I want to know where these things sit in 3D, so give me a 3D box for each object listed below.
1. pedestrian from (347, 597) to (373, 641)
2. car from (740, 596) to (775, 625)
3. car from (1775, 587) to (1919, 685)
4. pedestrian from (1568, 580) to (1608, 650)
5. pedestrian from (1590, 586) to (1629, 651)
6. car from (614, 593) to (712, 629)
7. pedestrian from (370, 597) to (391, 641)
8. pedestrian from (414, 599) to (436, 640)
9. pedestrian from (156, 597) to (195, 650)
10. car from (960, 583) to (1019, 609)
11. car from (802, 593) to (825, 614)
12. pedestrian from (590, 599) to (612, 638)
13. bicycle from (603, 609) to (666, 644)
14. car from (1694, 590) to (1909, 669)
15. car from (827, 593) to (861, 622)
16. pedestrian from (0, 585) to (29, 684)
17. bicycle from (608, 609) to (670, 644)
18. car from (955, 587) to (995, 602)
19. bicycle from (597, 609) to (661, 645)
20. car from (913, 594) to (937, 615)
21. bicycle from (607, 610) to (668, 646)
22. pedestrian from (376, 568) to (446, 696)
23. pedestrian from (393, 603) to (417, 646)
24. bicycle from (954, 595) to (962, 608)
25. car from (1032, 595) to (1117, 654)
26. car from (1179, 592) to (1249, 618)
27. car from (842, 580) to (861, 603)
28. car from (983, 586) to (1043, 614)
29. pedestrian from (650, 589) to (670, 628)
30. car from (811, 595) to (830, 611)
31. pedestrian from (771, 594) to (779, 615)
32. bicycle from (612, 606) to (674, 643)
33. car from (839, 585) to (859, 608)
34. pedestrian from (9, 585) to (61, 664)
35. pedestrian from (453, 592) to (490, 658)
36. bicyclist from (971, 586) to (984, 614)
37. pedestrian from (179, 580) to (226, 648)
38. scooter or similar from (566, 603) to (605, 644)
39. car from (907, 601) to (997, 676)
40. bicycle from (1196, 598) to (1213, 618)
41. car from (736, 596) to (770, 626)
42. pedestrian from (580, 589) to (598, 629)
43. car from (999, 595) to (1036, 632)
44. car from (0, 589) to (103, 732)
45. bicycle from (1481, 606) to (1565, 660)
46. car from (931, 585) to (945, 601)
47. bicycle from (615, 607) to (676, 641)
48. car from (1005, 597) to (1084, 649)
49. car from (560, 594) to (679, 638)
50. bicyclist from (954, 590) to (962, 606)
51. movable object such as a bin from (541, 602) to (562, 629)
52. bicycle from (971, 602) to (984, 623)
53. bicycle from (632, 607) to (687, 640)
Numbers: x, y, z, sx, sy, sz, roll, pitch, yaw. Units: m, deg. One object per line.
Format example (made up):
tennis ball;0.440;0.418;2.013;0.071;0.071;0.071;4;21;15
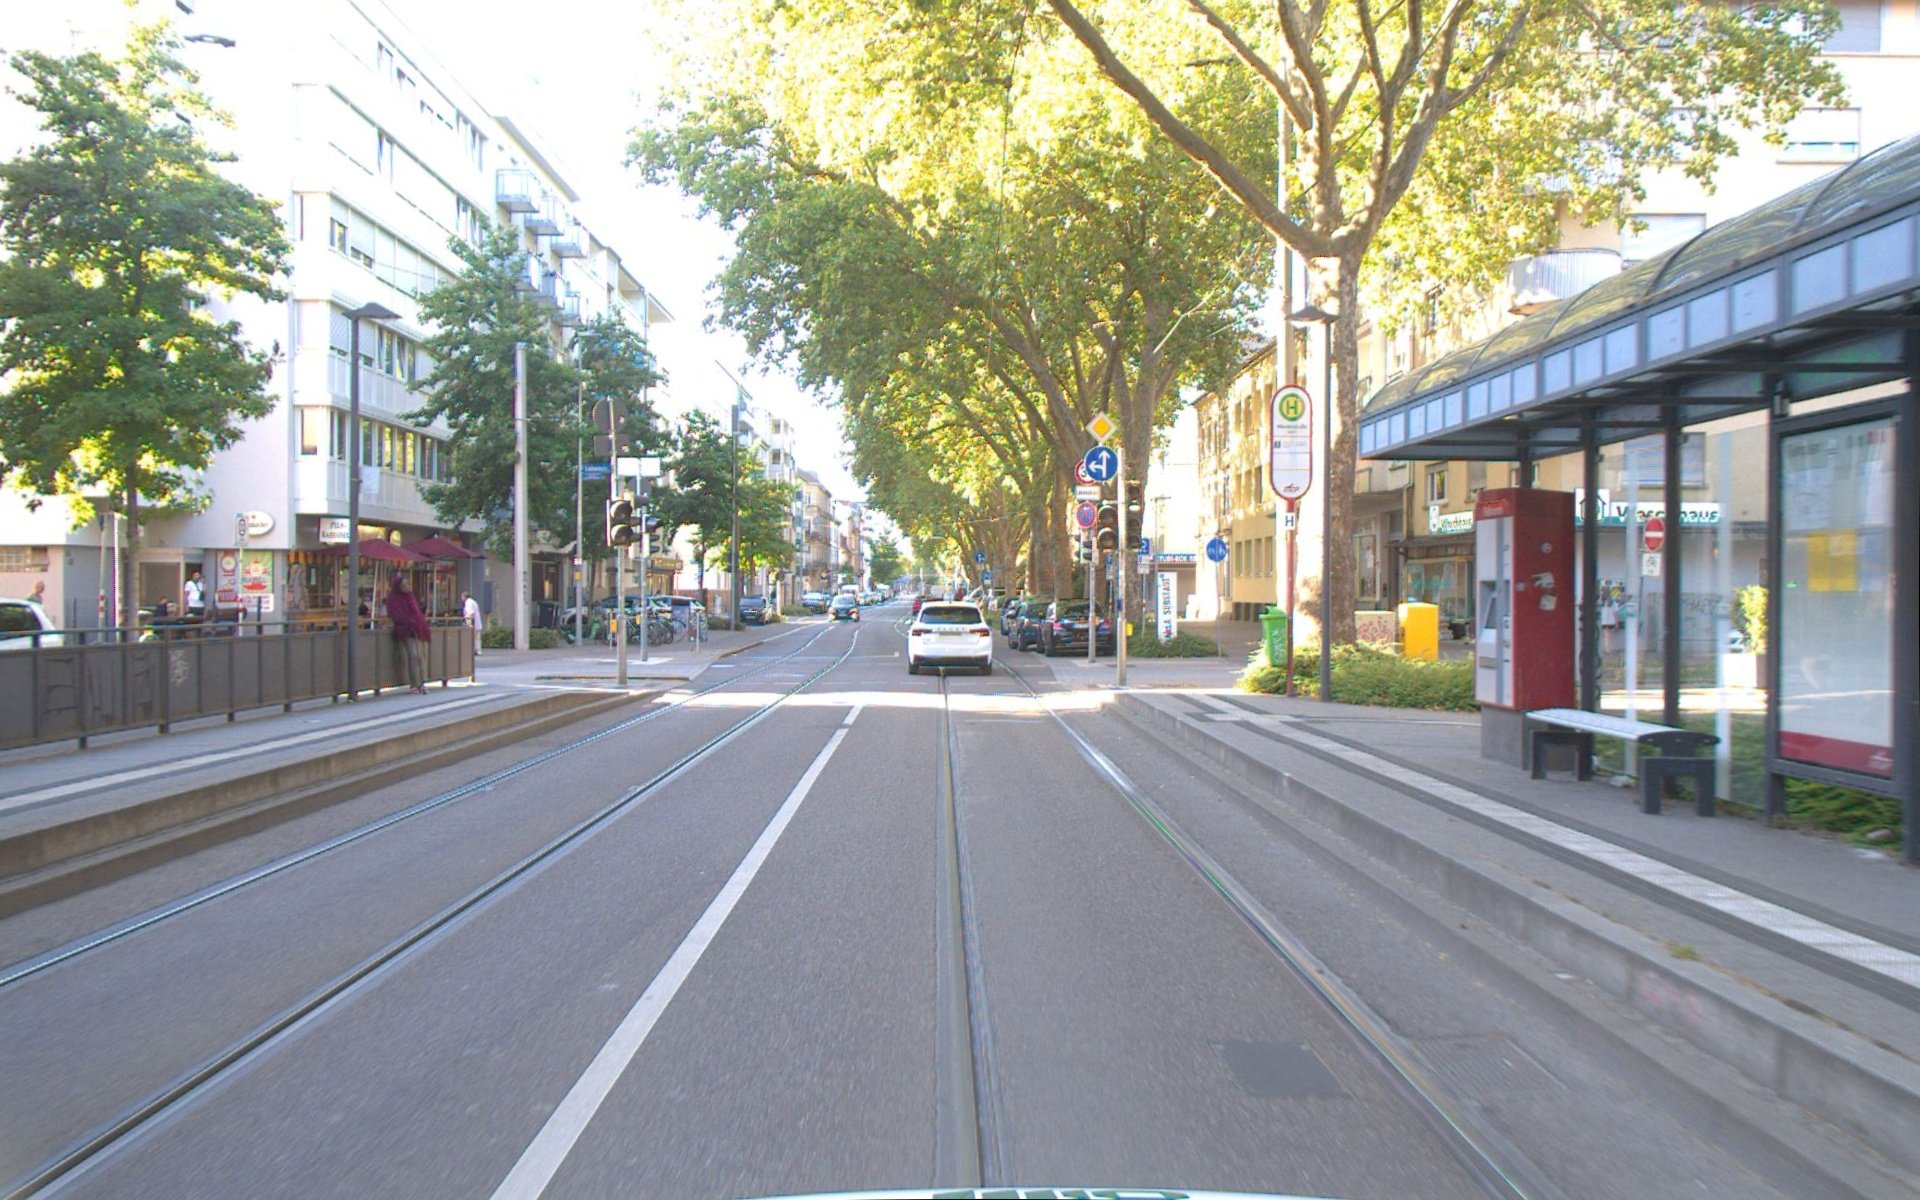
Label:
pedestrian;-16.683;0.524;45.969;0.557;1.219;0.507;0;0;-36
car;-11.389;0.569;93.186;1.680;1.489;4.372;3;0;-5
car;17.374;0.627;30.492;3.783;1.722;1.865;-1;0;-1
pedestrian;15.737;0.370;41.441;0.693;1.712;0.655;0;0;-28
pedestrian;15.843;0.454;40.338;0.690;1.566;0.687;-1;0;40
car;-12.882;0.486;71.911;3.933;1.501;1.850;1;0;-4
pedestrian;-15.985;0.523;45.635;0.503;1.219;0.561;0;0;-17
pedestrian;-16.033;0.590;49.569;0.506;1.219;0.558;0;0;-30
pedestrian;-19.011;0.567;40.064;0.741;1.263;0.759;0;0;-35
car;3.074;-0.405;172.973;6.008;2.681;2.528;0;0;-3
car;-12.186;0.268;137.590;1.668;1.679;4.239;2;0;-3
pedestrian;-12.380;0.629;56.957;0.700;1.320;0.744;0;0;-15
bicycle;-9.811;0.798;49.859;1.794;1.025;0.657;1;-1;-6
car;18.468;0.617;36.403;3.783;1.579;1.866;-1;3;-1
car;-6.887;0.416;98.144;1.834;1.617;4.144;2;0;-3
pedestrian;-15.624;0.560;26.792;0.711;1.583;0.725;0;0;-6
bicycle;-9.791;0.813;50.505;1.794;1.025;0.657;1;-1;-6
car;2.220;-0.869;251.803;6.008;2.322;2.528;0;0;-3
bicycle;-9.894;0.801;49.416;1.794;1.025;0.657;1;-1;-6
car;-2.579;0.336;121.590;1.725;1.501;4.000;-1;0;-1
bicycle;-9.330;0.807;47.944;1.658;1.025;0.657;1;-1;-6
pedestrian;-7.092;0.406;21.388;0.640;1.613;0.772;0;0;-1
pedestrian;-15.882;0.708;47.325;0.501;1.219;0.564;0;0;1
bicycle;-0.174;0.154;143.657;0.636;1.089;1.582;0;0;-3
car;3.019;0.613;44.471;1.729;1.488;5.010;0;0;-3
car;16.043;0.326;104.537;4.052;1.621;1.997;0;0;-6
car;-13.959;-1.055;212.895;2.295;2.911;3.999;0;0;-1
car;4.019;-0.017;125.997;4.453;2.113;1.999;0;0;-3
pedestrian;-13.528;0.387;74.566;0.748;1.720;0.794;0;0;-3
car;-12.886;0.304;153.286;1.620;1.462;3.835;0;0;-3
pedestrian;-16.191;0.364;144.506;0.650;1.858;0.965;0;0;-3
bicycle;-9.734;0.748;50.827;1.794;1.082;0.657;1;-1;-6
car;-13.020;-0.402;194.242;2.134;2.642;4.948;0;0;-1
pedestrian;-20.289;0.531;36.278;0.743;1.700;0.768;0;0;-7
pedestrian;-11.878;0.589;40.230;0.711;1.583;0.768;0;0;-7
bicyclist;0.910;0.016;88.408;0.664;1.468;1.047;0;0;0
pedestrian;-18.829;0.344;41.099;0.731;1.688;0.769;-1;0;14
scooter or similar;-11.275;0.699;49.813;1.058;1.197;0.498;1;-1;-3
car;-0.217;0.752;34.178;1.726;1.408;3.998;-1;0;-2
bicycle;14.034;0.460;94.908;0.571;1.123;1.922;-2;0;-2
car;-11.099;0.557;88.406;1.681;1.489;3.993;3;0;-8
pedestrian;-15.990;0.379;71.256;0.650;1.720;0.748;0;0;-3
car;2.461;0.577;71.377;1.531;1.545;2.910;-1;-1;1
car;-12.201;0.728;19.672;1.840;1.680;4.356;-1;0;-2
bicycle;12.993;0.755;38.157;1.767;1.177;0.740;-2;0;-23
car;-3.510;-1.141;259.232;2.157;2.429;3.999;0;0;-1
bicycle;-9.814;0.751;51.637;1.794;1.025;0.657;1;-1;-6
car;2.469;0.655;49.451;1.828;1.462;4.222;-1;0;-4
car;-12.381;0.573;60.284;3.930;1.501;1.851;1;0;-1
bicyclist;-0.182;-0.159;143.670;0.636;1.367;0.934;0;0;-3
movable object such as a bin;-15.966;0.604;64.650;0.664;1.074;0.622;-1;0;1
bicycle;0.923;0.670;88.475;0.667;1.089;1.780;-1;0;0
bicycle;-9.620;0.761;52.995;1.658;1.025;0.657;1;-1;-6
